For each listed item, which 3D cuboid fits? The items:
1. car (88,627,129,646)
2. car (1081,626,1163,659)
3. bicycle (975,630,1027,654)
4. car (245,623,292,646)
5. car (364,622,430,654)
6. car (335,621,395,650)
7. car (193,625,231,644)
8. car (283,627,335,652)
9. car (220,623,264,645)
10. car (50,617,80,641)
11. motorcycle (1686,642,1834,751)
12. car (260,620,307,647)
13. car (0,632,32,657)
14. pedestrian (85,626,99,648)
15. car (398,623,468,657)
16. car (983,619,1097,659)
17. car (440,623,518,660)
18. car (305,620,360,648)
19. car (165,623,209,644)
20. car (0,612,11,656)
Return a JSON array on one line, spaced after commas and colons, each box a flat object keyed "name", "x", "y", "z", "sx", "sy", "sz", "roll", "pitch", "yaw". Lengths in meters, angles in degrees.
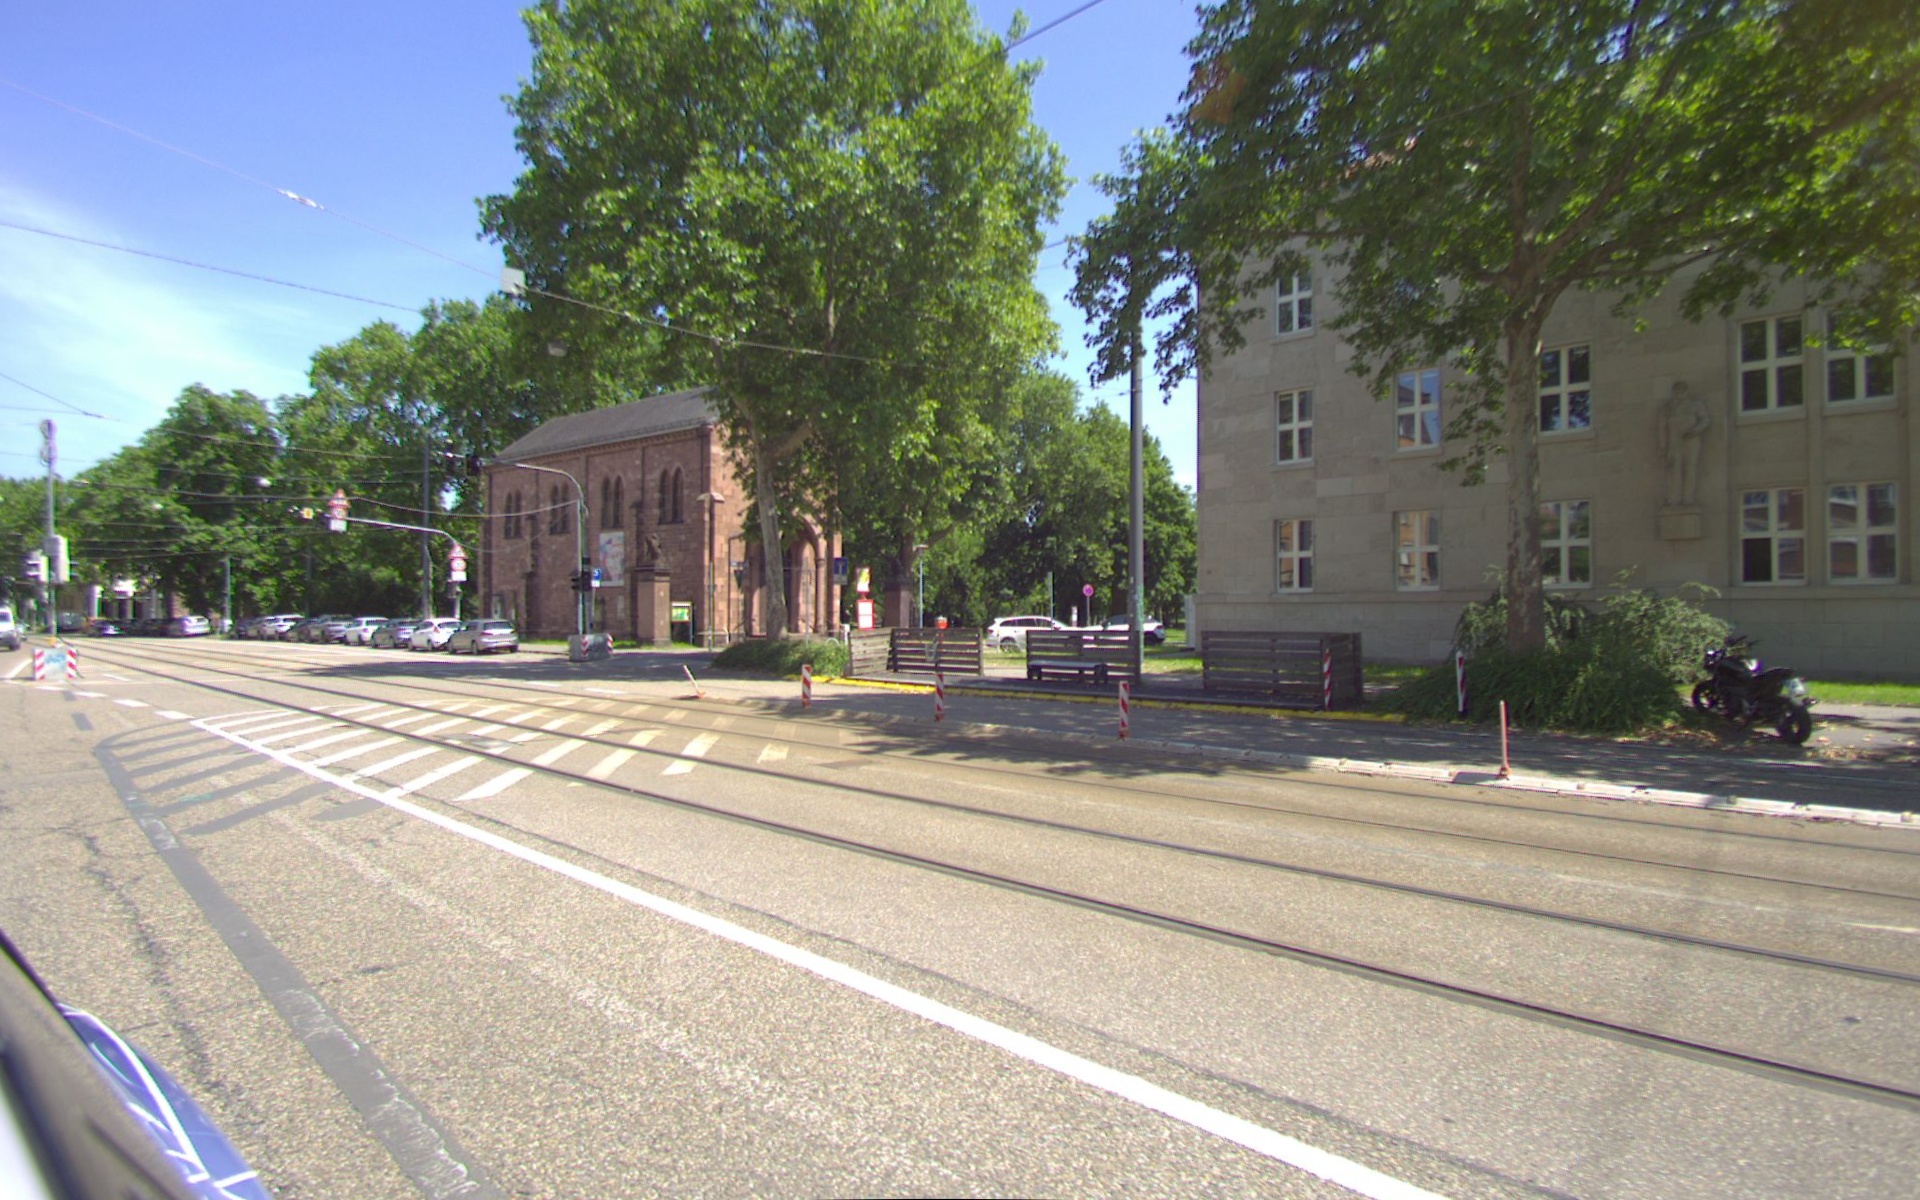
[{"name": "car", "x": -64.601, "y": 2.747, "z": 76.726, "sx": 4.345, "sy": 1.405, "sz": 1.728, "roll": -1, "pitch": -1, "yaw": 41}, {"name": "car", "x": 7.307, "y": 1.890, "z": 45.417, "sx": 3.558, "sy": 1.387, "sz": 1.714, "roll": -1, "pitch": -1, "yaw": 12}, {"name": "bicycle", "x": 1.562, "y": 1.602, "z": 38.821, "sx": 1.896, "sy": 0.907, "sz": 0.639, "roll": -1, "pitch": -1, "yaw": 24}, {"name": "car", "x": -46.435, "y": 2.286, "z": 67.888, "sx": 4.188, "sy": 1.509, "sz": 1.724, "roll": -1, "pitch": -1, "yaw": 43}, {"name": "car", "x": -27.650, "y": 1.823, "z": 49.646, "sx": 4.058, "sy": 1.470, "sz": 1.640, "roll": -1, "pitch": -1, "yaw": 43}, {"name": "car", "x": -31.554, "y": 1.873, "z": 53.658, "sx": 3.753, "sy": 1.470, "sz": 1.724, "roll": -1, "pitch": -1, "yaw": 43}, {"name": "car", "x": -55.247, "y": 2.524, "z": 74.741, "sx": 3.765, "sy": 1.390, "sz": 1.628, "roll": -1, "pitch": -1, "yaw": 43}, {"name": "car", "x": -39.097, "y": 2.350, "z": 60.759, "sx": 4.000, "sy": 1.386, "sz": 1.649, "roll": -1, "pitch": -1, "yaw": 43}, {"name": "car", "x": -51.090, "y": 2.377, "z": 71.946, "sx": 4.188, "sy": 1.509, "sz": 1.724, "roll": -1, "pitch": -1, "yaw": 43}, {"name": "car", "x": -89.622, "y": 2.863, "z": 101.292, "sx": 3.760, "sy": 2.314, "sz": 1.797, "roll": -1, "pitch": -1, "yaw": 41}, {"name": "motorcycle", "x": 10.222, "y": 1.189, "z": 13.026, "sx": 0.720, "sy": 1.076, "sz": 1.865, "roll": -1, "pitch": 4, "yaw": 13}, {"name": "car", "x": -43.000, "y": 2.095, "z": 64.300, "sx": 3.907, "sy": 1.665, "sz": 1.723, "roll": -1, "pitch": -1, "yaw": 45}, {"name": "car", "x": -64.421, "y": 3.024, "z": 68.828, "sx": 1.775, "sy": 1.586, "sz": 4.002, "roll": 0, "pitch": -1, "yaw": -45}, {"name": "pedestrian", "x": -80.875, "y": 3.407, "z": 94.289, "sx": 0.939, "sy": 2.029, "sz": 0.761, "roll": 0, "pitch": -1, "yaw": -44}, {"name": "car", "x": -24.138, "y": 1.803, "z": 46.317, "sx": 4.060, "sy": 1.470, "sz": 1.640, "roll": -1, "pitch": -1, "yaw": 44}, {"name": "car", "x": 3.265, "y": 1.577, "z": 40.880, "sx": 4.484, "sy": 1.520, "sz": 1.910, "roll": -1, "pitch": -1, "yaw": 9}, {"name": "car", "x": -20.429, "y": 1.723, "z": 42.922, "sx": 4.222, "sy": 1.470, "sz": 1.640, "roll": -1, "pitch": -1, "yaw": 44}, {"name": "car", "x": -35.382, "y": 1.894, "z": 57.008, "sx": 3.753, "sy": 1.535, "sz": 1.724, "roll": -1, "pitch": -1, "yaw": 43}, {"name": "car", "x": -60.480, "y": 2.606, "z": 79.164, "sx": 3.998, "sy": 1.575, "sz": 1.952, "roll": -1, "pitch": -1, "yaw": 41}, {"name": "car", "x": -45.094, "y": 1.551, "z": 46.432, "sx": 2.134, "sy": 1.952, "sz": 4.861, "roll": 0, "pitch": -1, "yaw": -41}]
